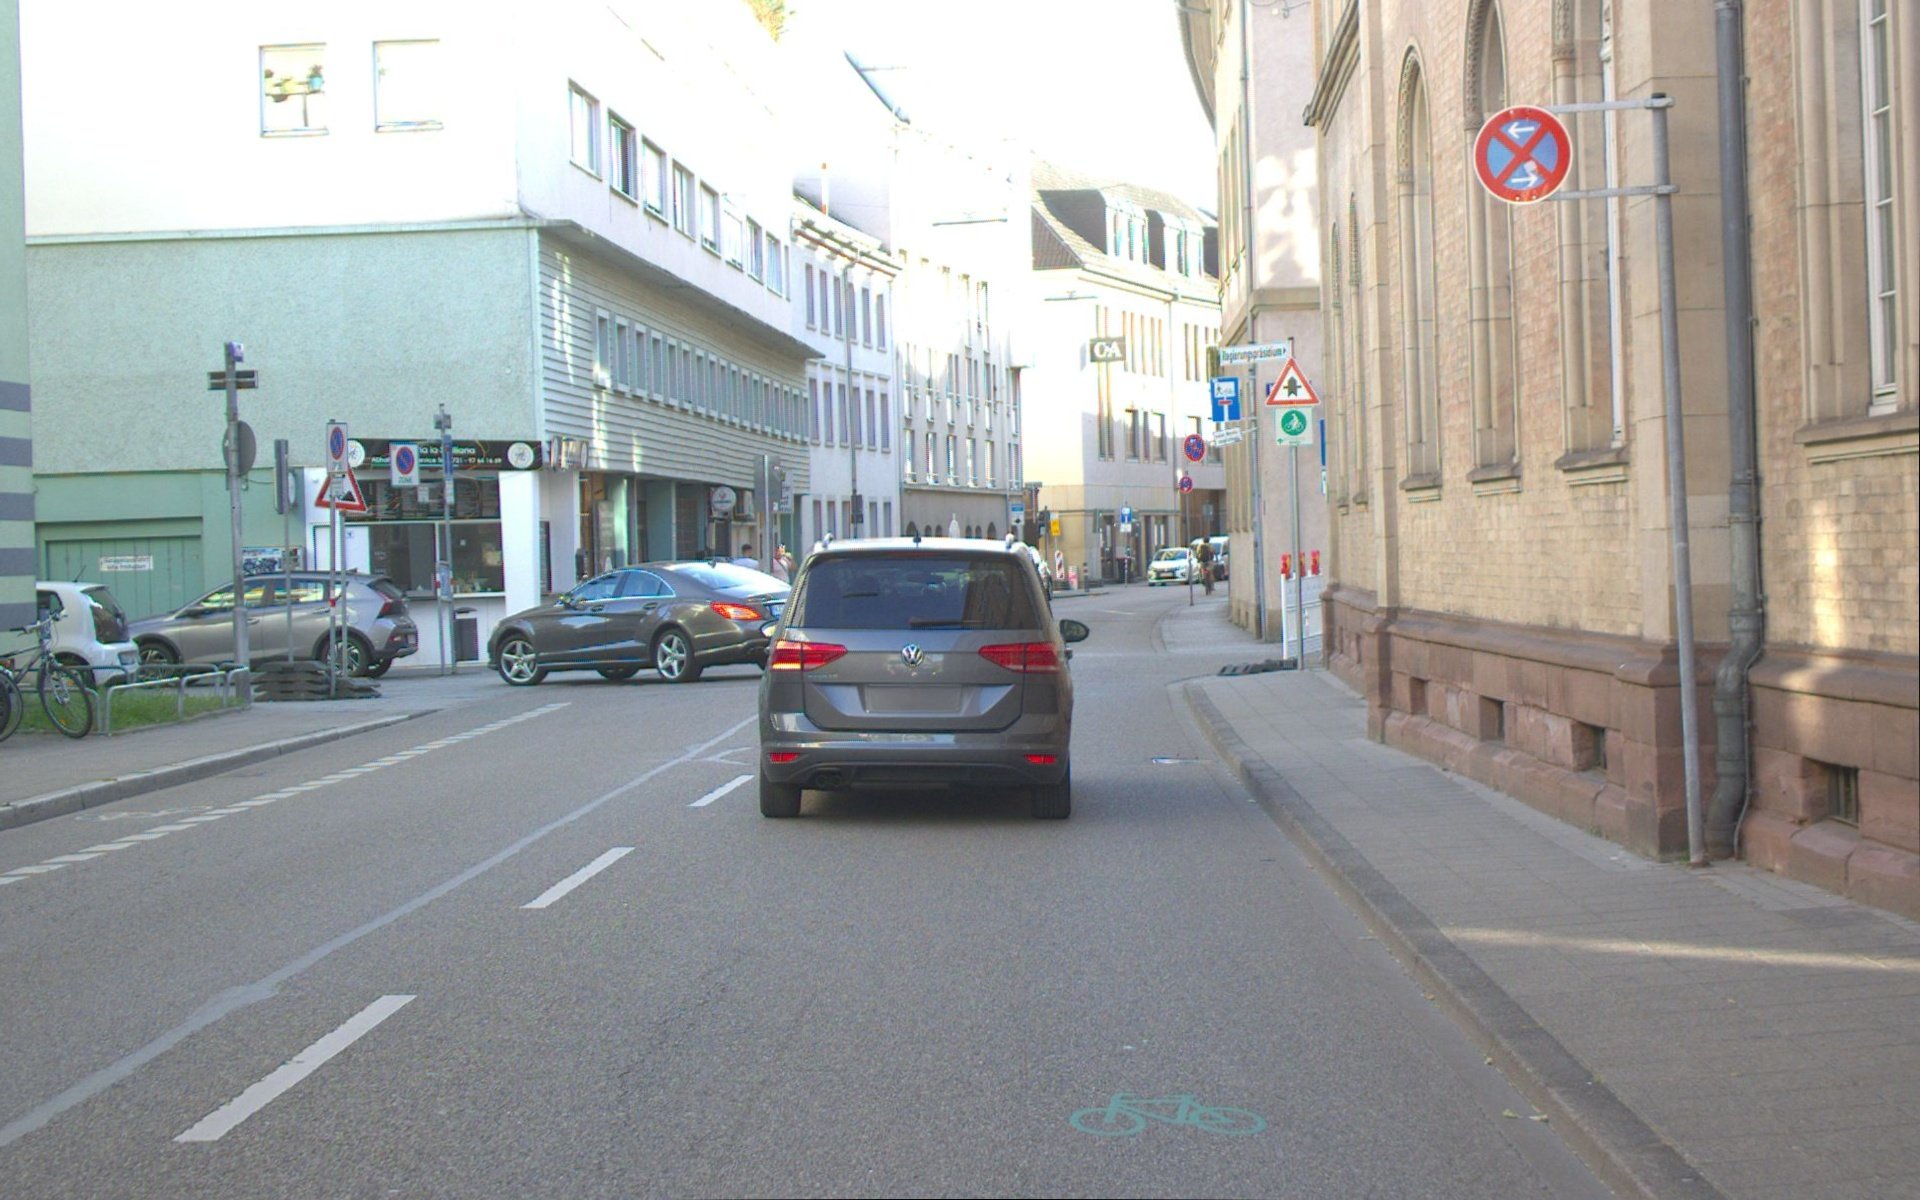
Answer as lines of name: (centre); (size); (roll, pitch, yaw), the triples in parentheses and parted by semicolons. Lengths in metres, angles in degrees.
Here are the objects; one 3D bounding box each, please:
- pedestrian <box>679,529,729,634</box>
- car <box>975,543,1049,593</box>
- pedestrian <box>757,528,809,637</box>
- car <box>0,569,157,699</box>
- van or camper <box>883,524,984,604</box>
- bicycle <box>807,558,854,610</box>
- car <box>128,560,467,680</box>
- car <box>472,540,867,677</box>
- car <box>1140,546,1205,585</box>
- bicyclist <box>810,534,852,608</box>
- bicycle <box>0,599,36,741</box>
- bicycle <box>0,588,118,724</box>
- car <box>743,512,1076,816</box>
pedestrian: (-4.475, -0.322, 60.126); (0.556, 1.823, 0.730); (-1, 1, 25)
car: (1.618, -0.990, 106.067); (1.866, 1.463, 3.833); (-1, 1, 7)
pedestrian: (-2.966, -0.296, 57.776); (0.556, 1.823, 0.730); (-1, 1, 25)
car: (-11.520, 0.418, 40.689); (3.501, 1.438, 1.813); (-2, 1, 4)
van or camper: (-0.671, -0.963, 89.959); (1.994, 2.007, 4.482); (-1, 1, 8)
bicycle: (-2.744, -0.353, 73.040); (0.831, 1.050, 2.549); (-1, 1, 1)
car: (-8.914, 0.253, 46.466); (4.098, 1.438, 1.947); (-2, 1, 4)
car: (-3.524, 0.095, 41.230); (4.624, 1.536, 1.995); (0, 1, 40)
car: (8.441, -1.370, 136.078); (1.735, 1.463, 3.997); (-1, 1, 16)
bicyclist: (-2.745, -0.614, 73.094); (0.831, 1.556, 0.759); (-1, 1, 2)
bicycle: (-8.810, 0.570, 28.999); (1.928, 1.175, 0.614); (1, 0, -14)
bicycle: (-8.496, 0.483, 30.459); (1.928, 1.175, 0.613); (1, 0, -7)
car: (-0.245, 0.316, 20.644); (1.762, 1.601, 4.000); (1, 1, 1)
